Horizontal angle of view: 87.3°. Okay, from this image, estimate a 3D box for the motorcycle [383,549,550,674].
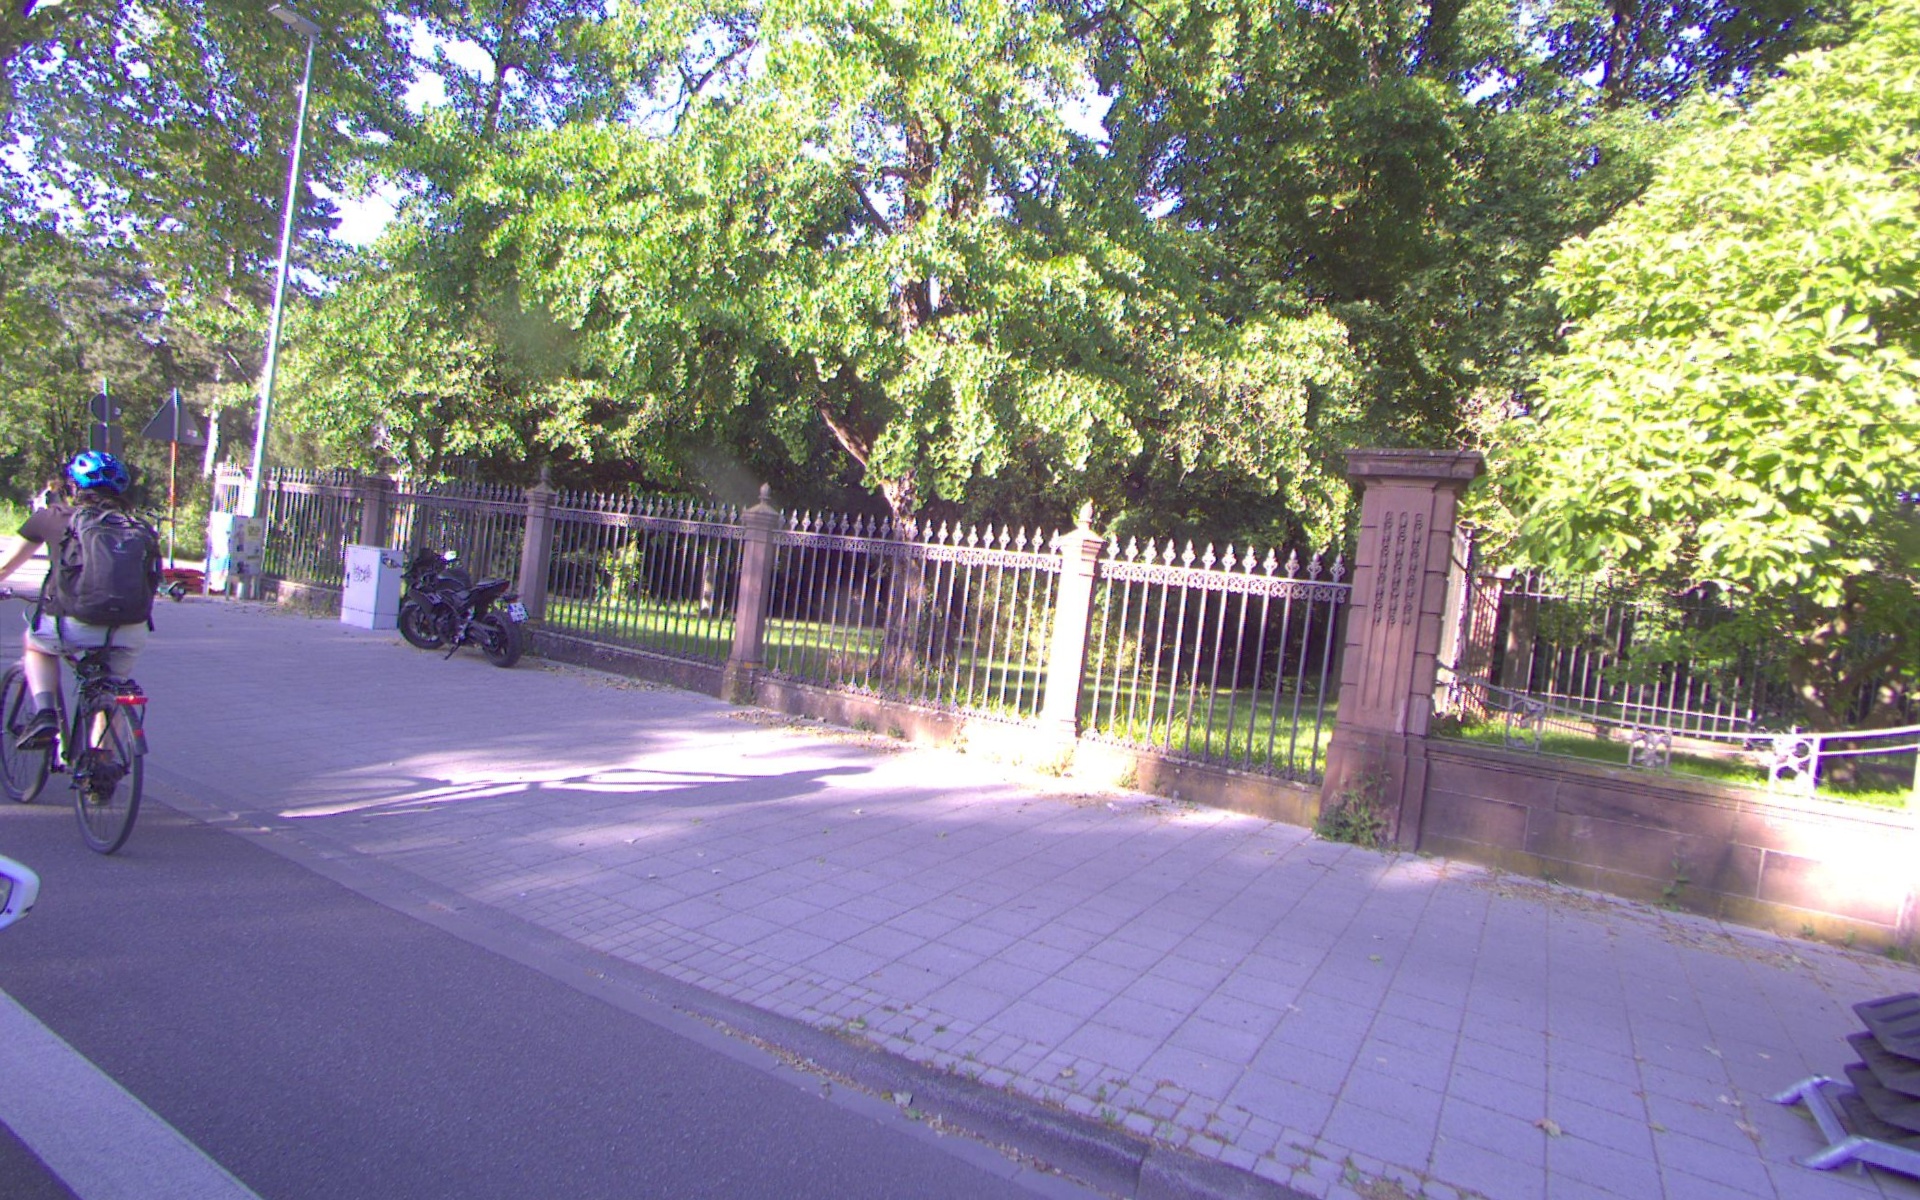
[{"bbox_3d":[-5.503,0.103,11.160,2.134,1.146,0.506,7,2,30],"label":"motorcycle"}]

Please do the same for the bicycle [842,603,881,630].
[{"bbox_3d":[-4.533,0.757,46.394,1.599,1.027,0.473,8,-1,-20],"label":"bicycle"}]

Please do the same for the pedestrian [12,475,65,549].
[{"bbox_3d":[-23.048,-2.189,25.166,0.632,1.721,0.690,7,2,25],"label":"pedestrian"}]

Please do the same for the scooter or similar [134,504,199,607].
[{"bbox_3d":[-11.177,-0.636,14.154,1.152,1.344,0.228,7,2,30],"label":"scooter or similar"}]

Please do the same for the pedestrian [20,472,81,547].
[{"bbox_3d":[-23.843,-2.362,26.381,0.817,1.794,0.819,7,1,25],"label":"pedestrian"}]

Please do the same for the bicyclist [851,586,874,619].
[{"bbox_3d":[-4.501,0.108,46.366,0.773,1.448,0.663,7,0,-20],"label":"bicyclist"}]

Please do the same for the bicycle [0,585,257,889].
[{"bbox_3d":[-4.234,0.533,4.703,2.046,1.021,0.670,7,-1,30],"label":"bicycle"}]

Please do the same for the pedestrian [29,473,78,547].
[{"bbox_3d":[-23.318,-2.309,25.888,0.635,1.794,0.617,7,2,25],"label":"pedestrian"}]

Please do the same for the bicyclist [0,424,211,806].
[{"bbox_3d":[-4.156,0.063,4.698,0.709,1.621,0.666,7,-1,30],"label":"bicyclist"}]
